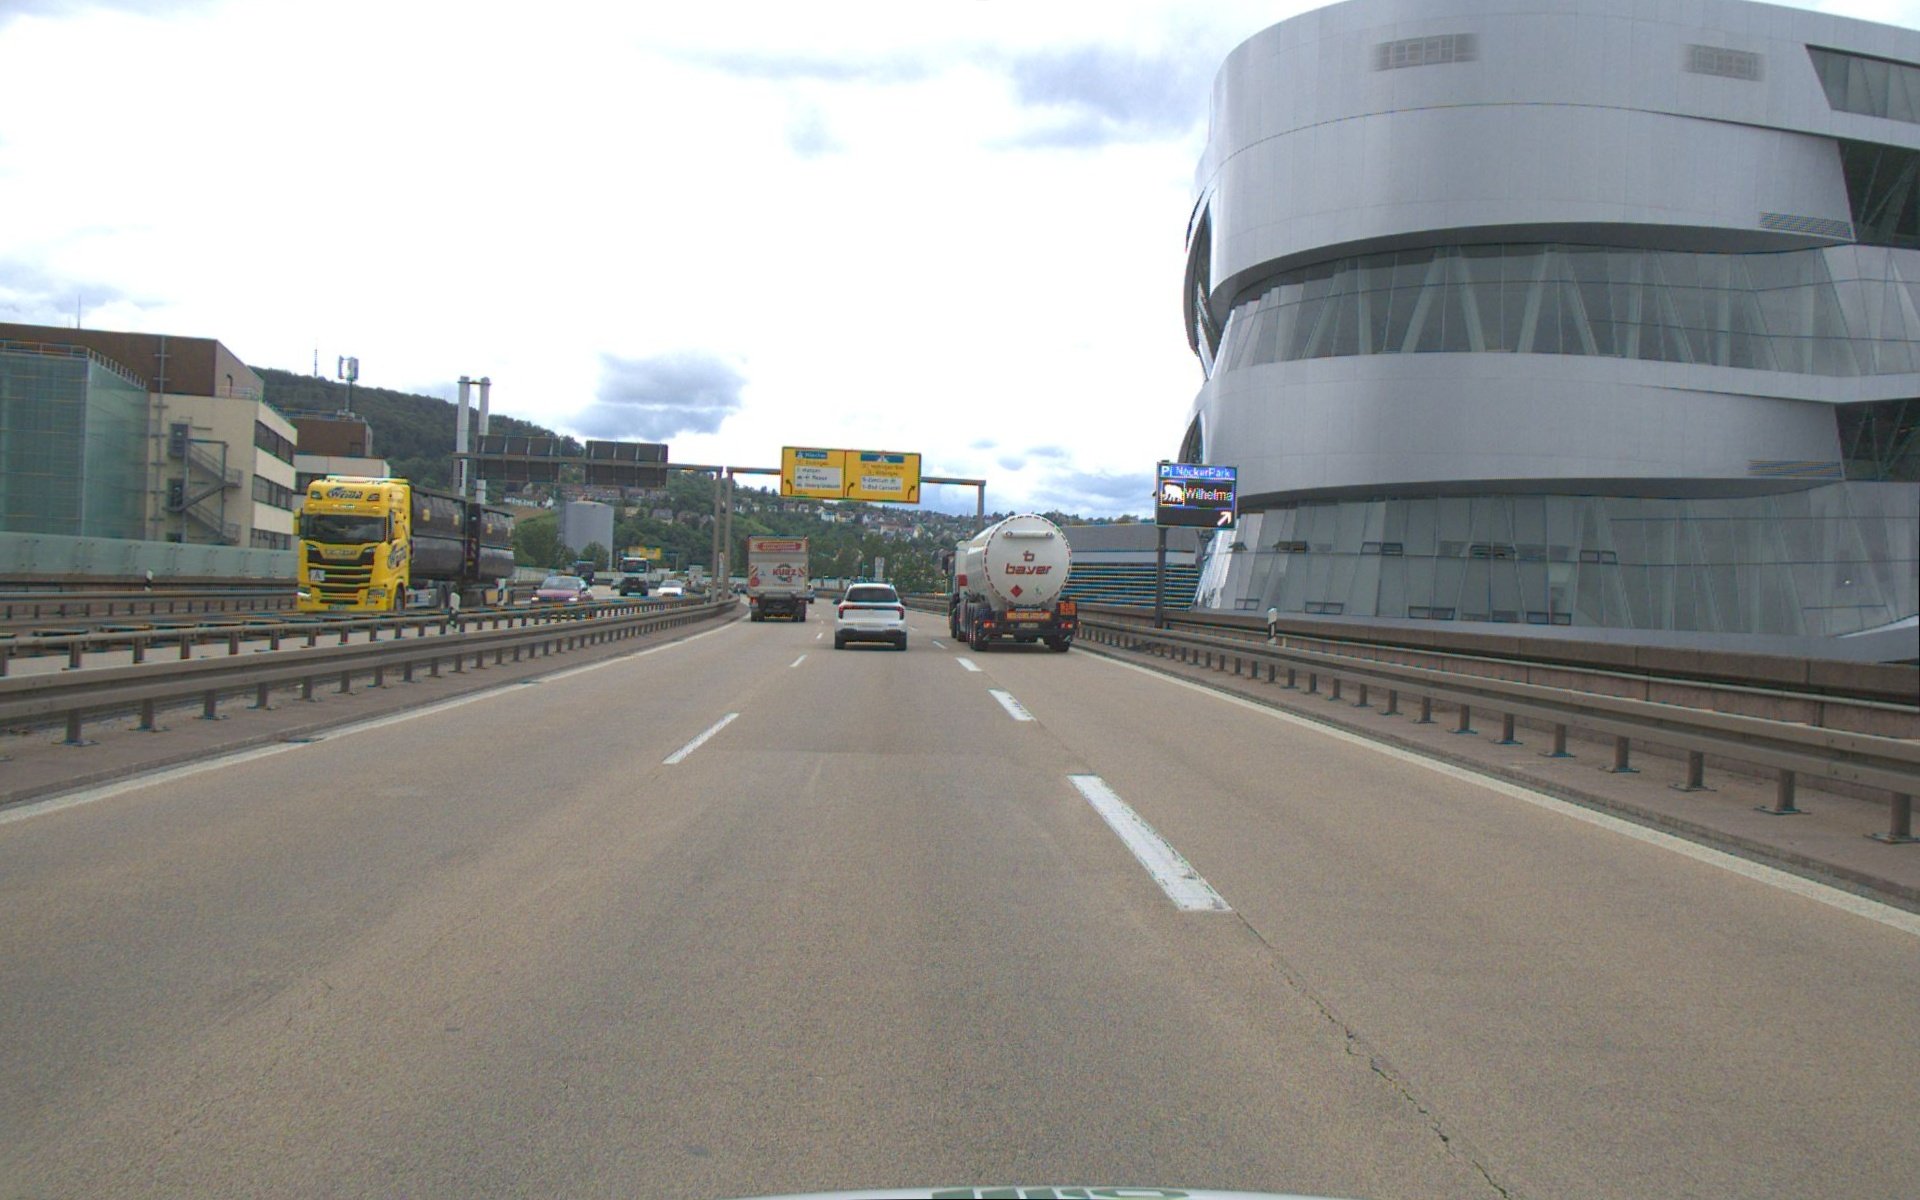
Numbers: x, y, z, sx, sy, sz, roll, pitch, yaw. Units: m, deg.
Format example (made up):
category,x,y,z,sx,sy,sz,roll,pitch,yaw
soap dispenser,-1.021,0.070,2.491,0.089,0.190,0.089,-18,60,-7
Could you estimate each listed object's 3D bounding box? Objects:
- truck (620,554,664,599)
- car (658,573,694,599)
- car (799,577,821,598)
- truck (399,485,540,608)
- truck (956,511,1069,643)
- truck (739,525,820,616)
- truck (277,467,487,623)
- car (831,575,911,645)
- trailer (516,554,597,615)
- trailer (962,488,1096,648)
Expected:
category,x,y,z,sx,sy,sz,roll,pitch,yaw
truck,-28.714,-2.015,149.815,2.999,3.842,12.499,1,0,-7
car,-18.885,-0.929,110.067,1.955,1.634,4.801,1,0,-6
car,-12.871,-1.047,142.294,1.649,1.679,4.357,2,0,-2
truck,-17.909,-1.815,61.032,2.996,4.136,8.657,1,0,-3
truck,1.494,-0.643,50.368,2.954,3.721,6.270,1,0,-2
truck,-7.902,-1.211,73.343,2.996,3.755,8.298,1,0,-3
truck,-17.261,-1.472,50.514,2.997,4.136,11.846,1,0,-4
car,-2.295,0.256,43.290,1.954,1.704,4.406,1,0,-3
trailer,-14.063,-0.510,57.860,1.954,2.049,3.998,1,0,-3
trailer,1.702,-0.757,44.652,2.995,3.856,8.301,1,0,-2
